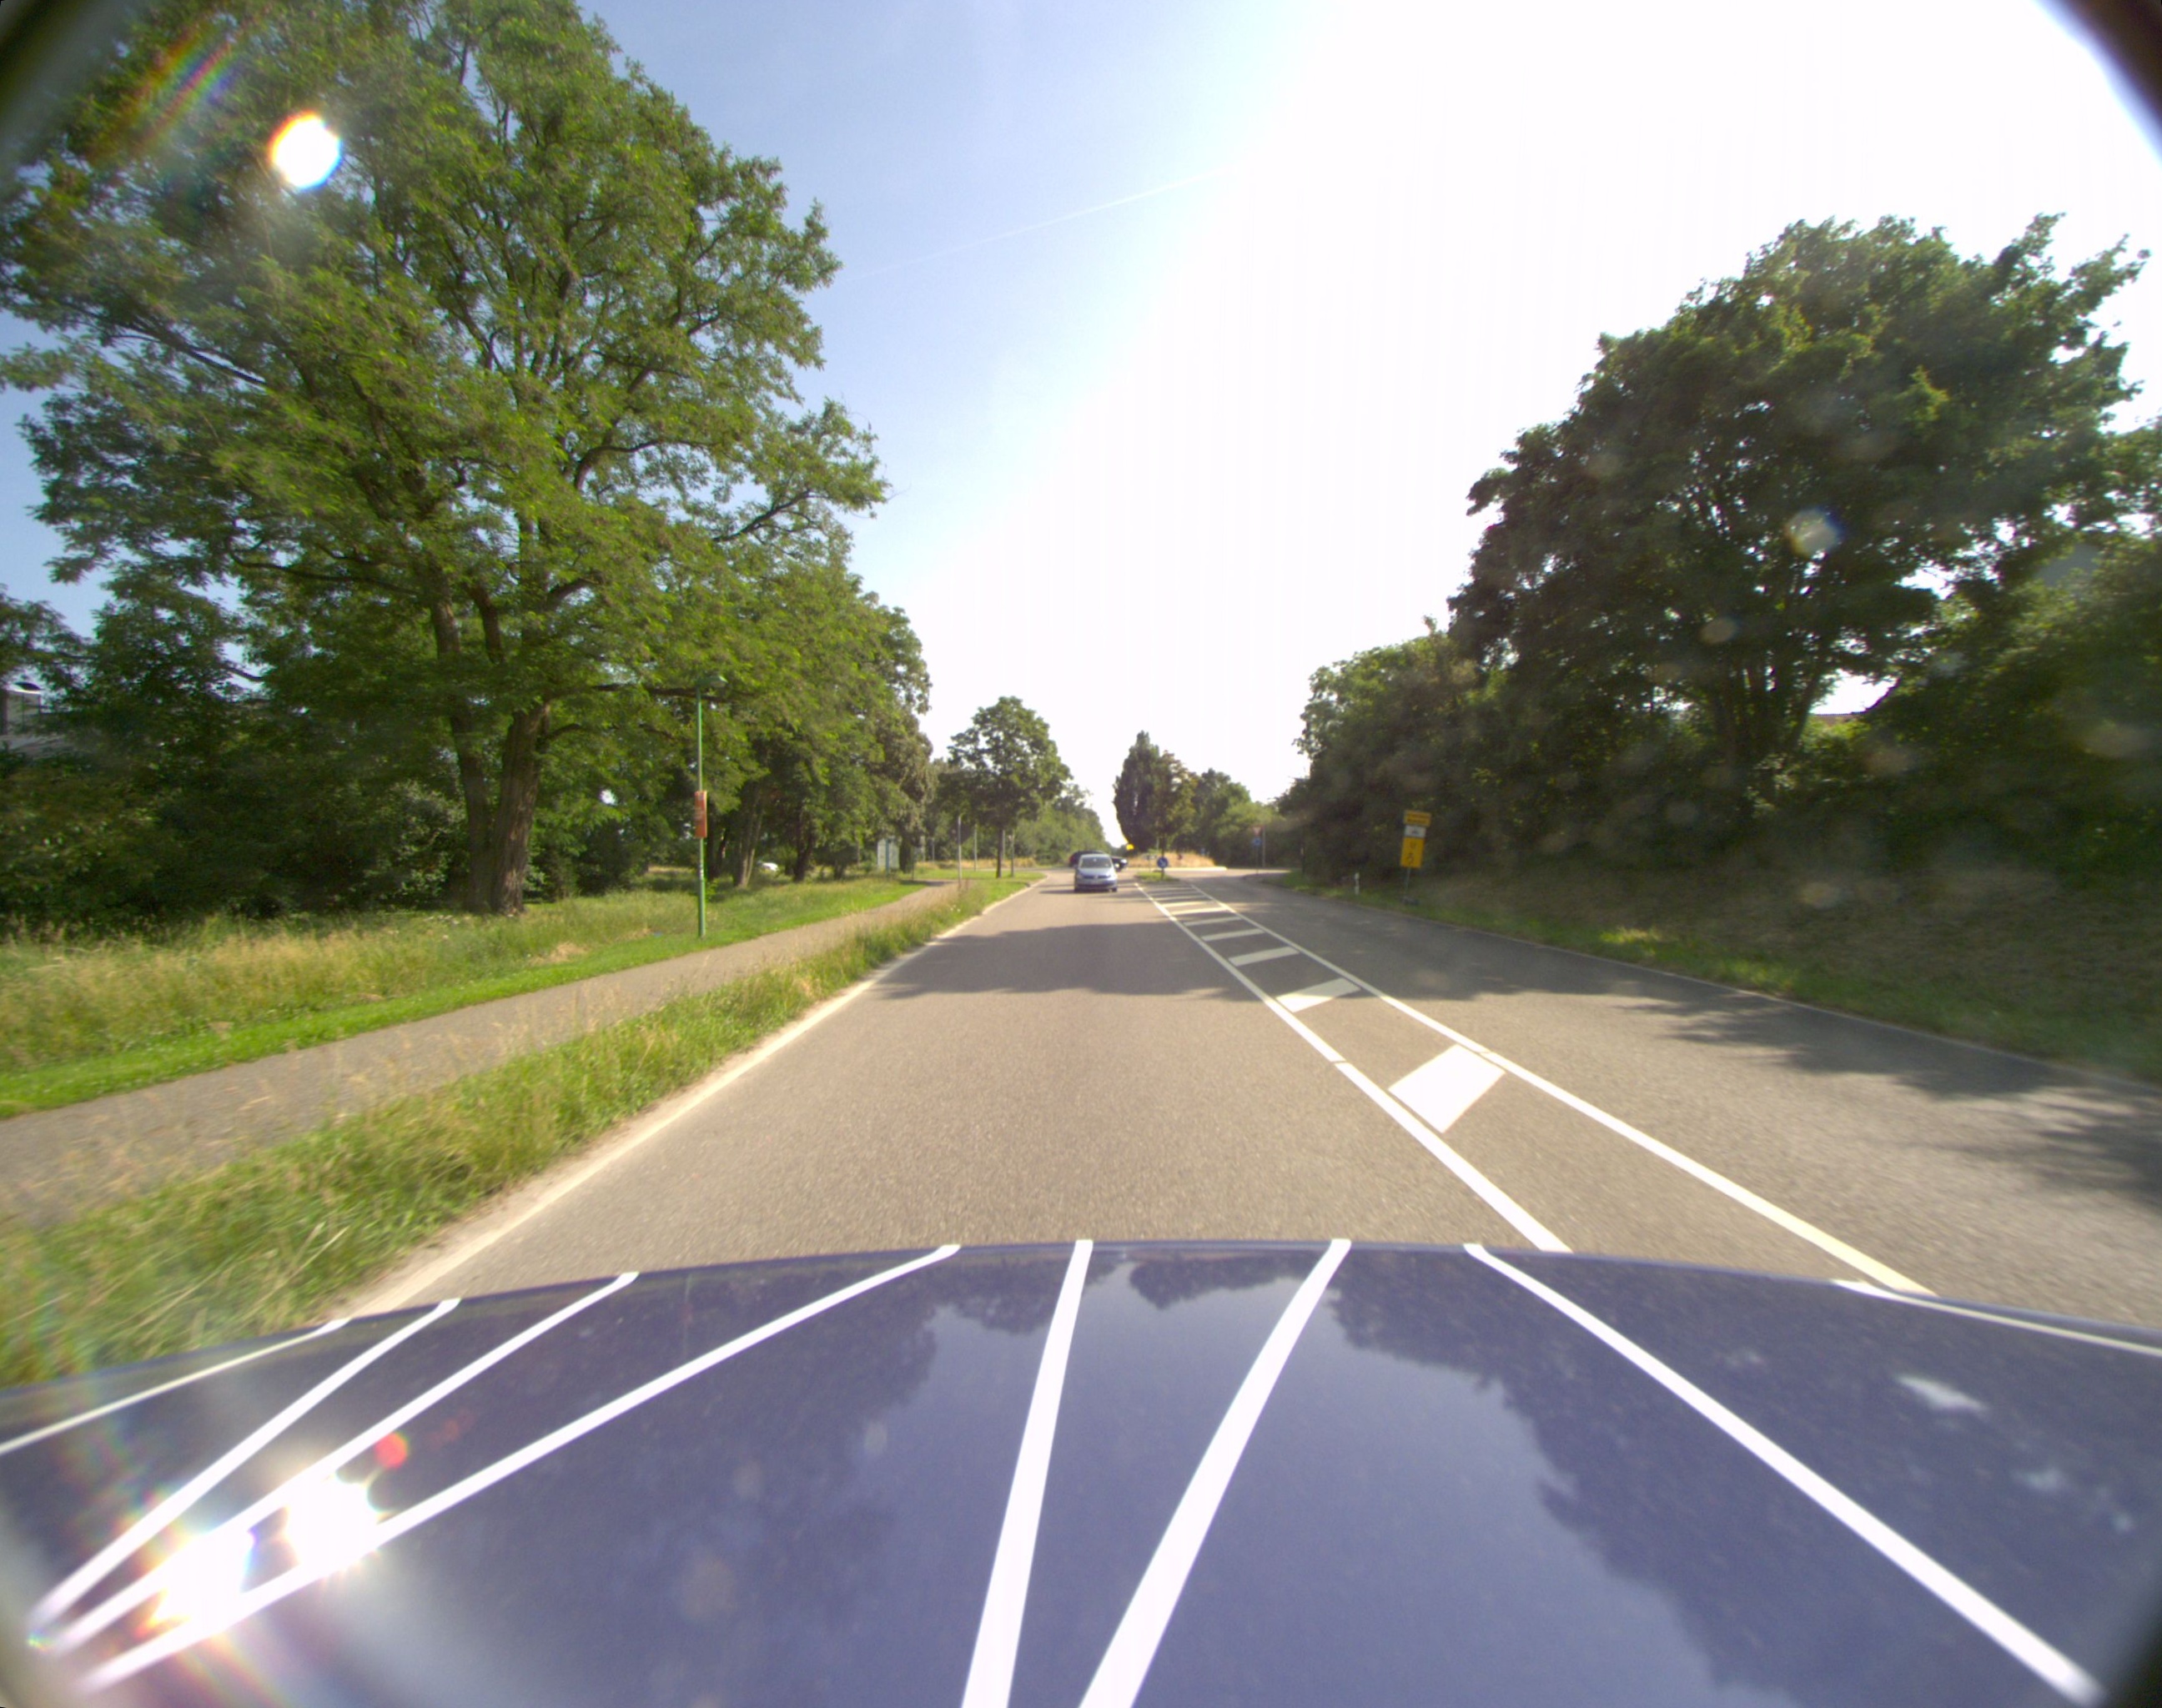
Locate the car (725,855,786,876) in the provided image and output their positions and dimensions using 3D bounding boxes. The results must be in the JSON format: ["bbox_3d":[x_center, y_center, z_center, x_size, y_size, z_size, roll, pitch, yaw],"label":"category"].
[{"bbox_3d":[-26.325,0.899,61.591,4.136,1.540,1.901,-1,1,-10],"label":"car"}]

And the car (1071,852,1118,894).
[{"bbox_3d":[0.614,0.730,31.124,1.808,1.592,4.270,0,0,2],"label":"car"}]

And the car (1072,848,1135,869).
[{"bbox_3d":[1.755,0.364,59.473,4.612,1.592,1.955,0,1,15],"label":"car"}]
